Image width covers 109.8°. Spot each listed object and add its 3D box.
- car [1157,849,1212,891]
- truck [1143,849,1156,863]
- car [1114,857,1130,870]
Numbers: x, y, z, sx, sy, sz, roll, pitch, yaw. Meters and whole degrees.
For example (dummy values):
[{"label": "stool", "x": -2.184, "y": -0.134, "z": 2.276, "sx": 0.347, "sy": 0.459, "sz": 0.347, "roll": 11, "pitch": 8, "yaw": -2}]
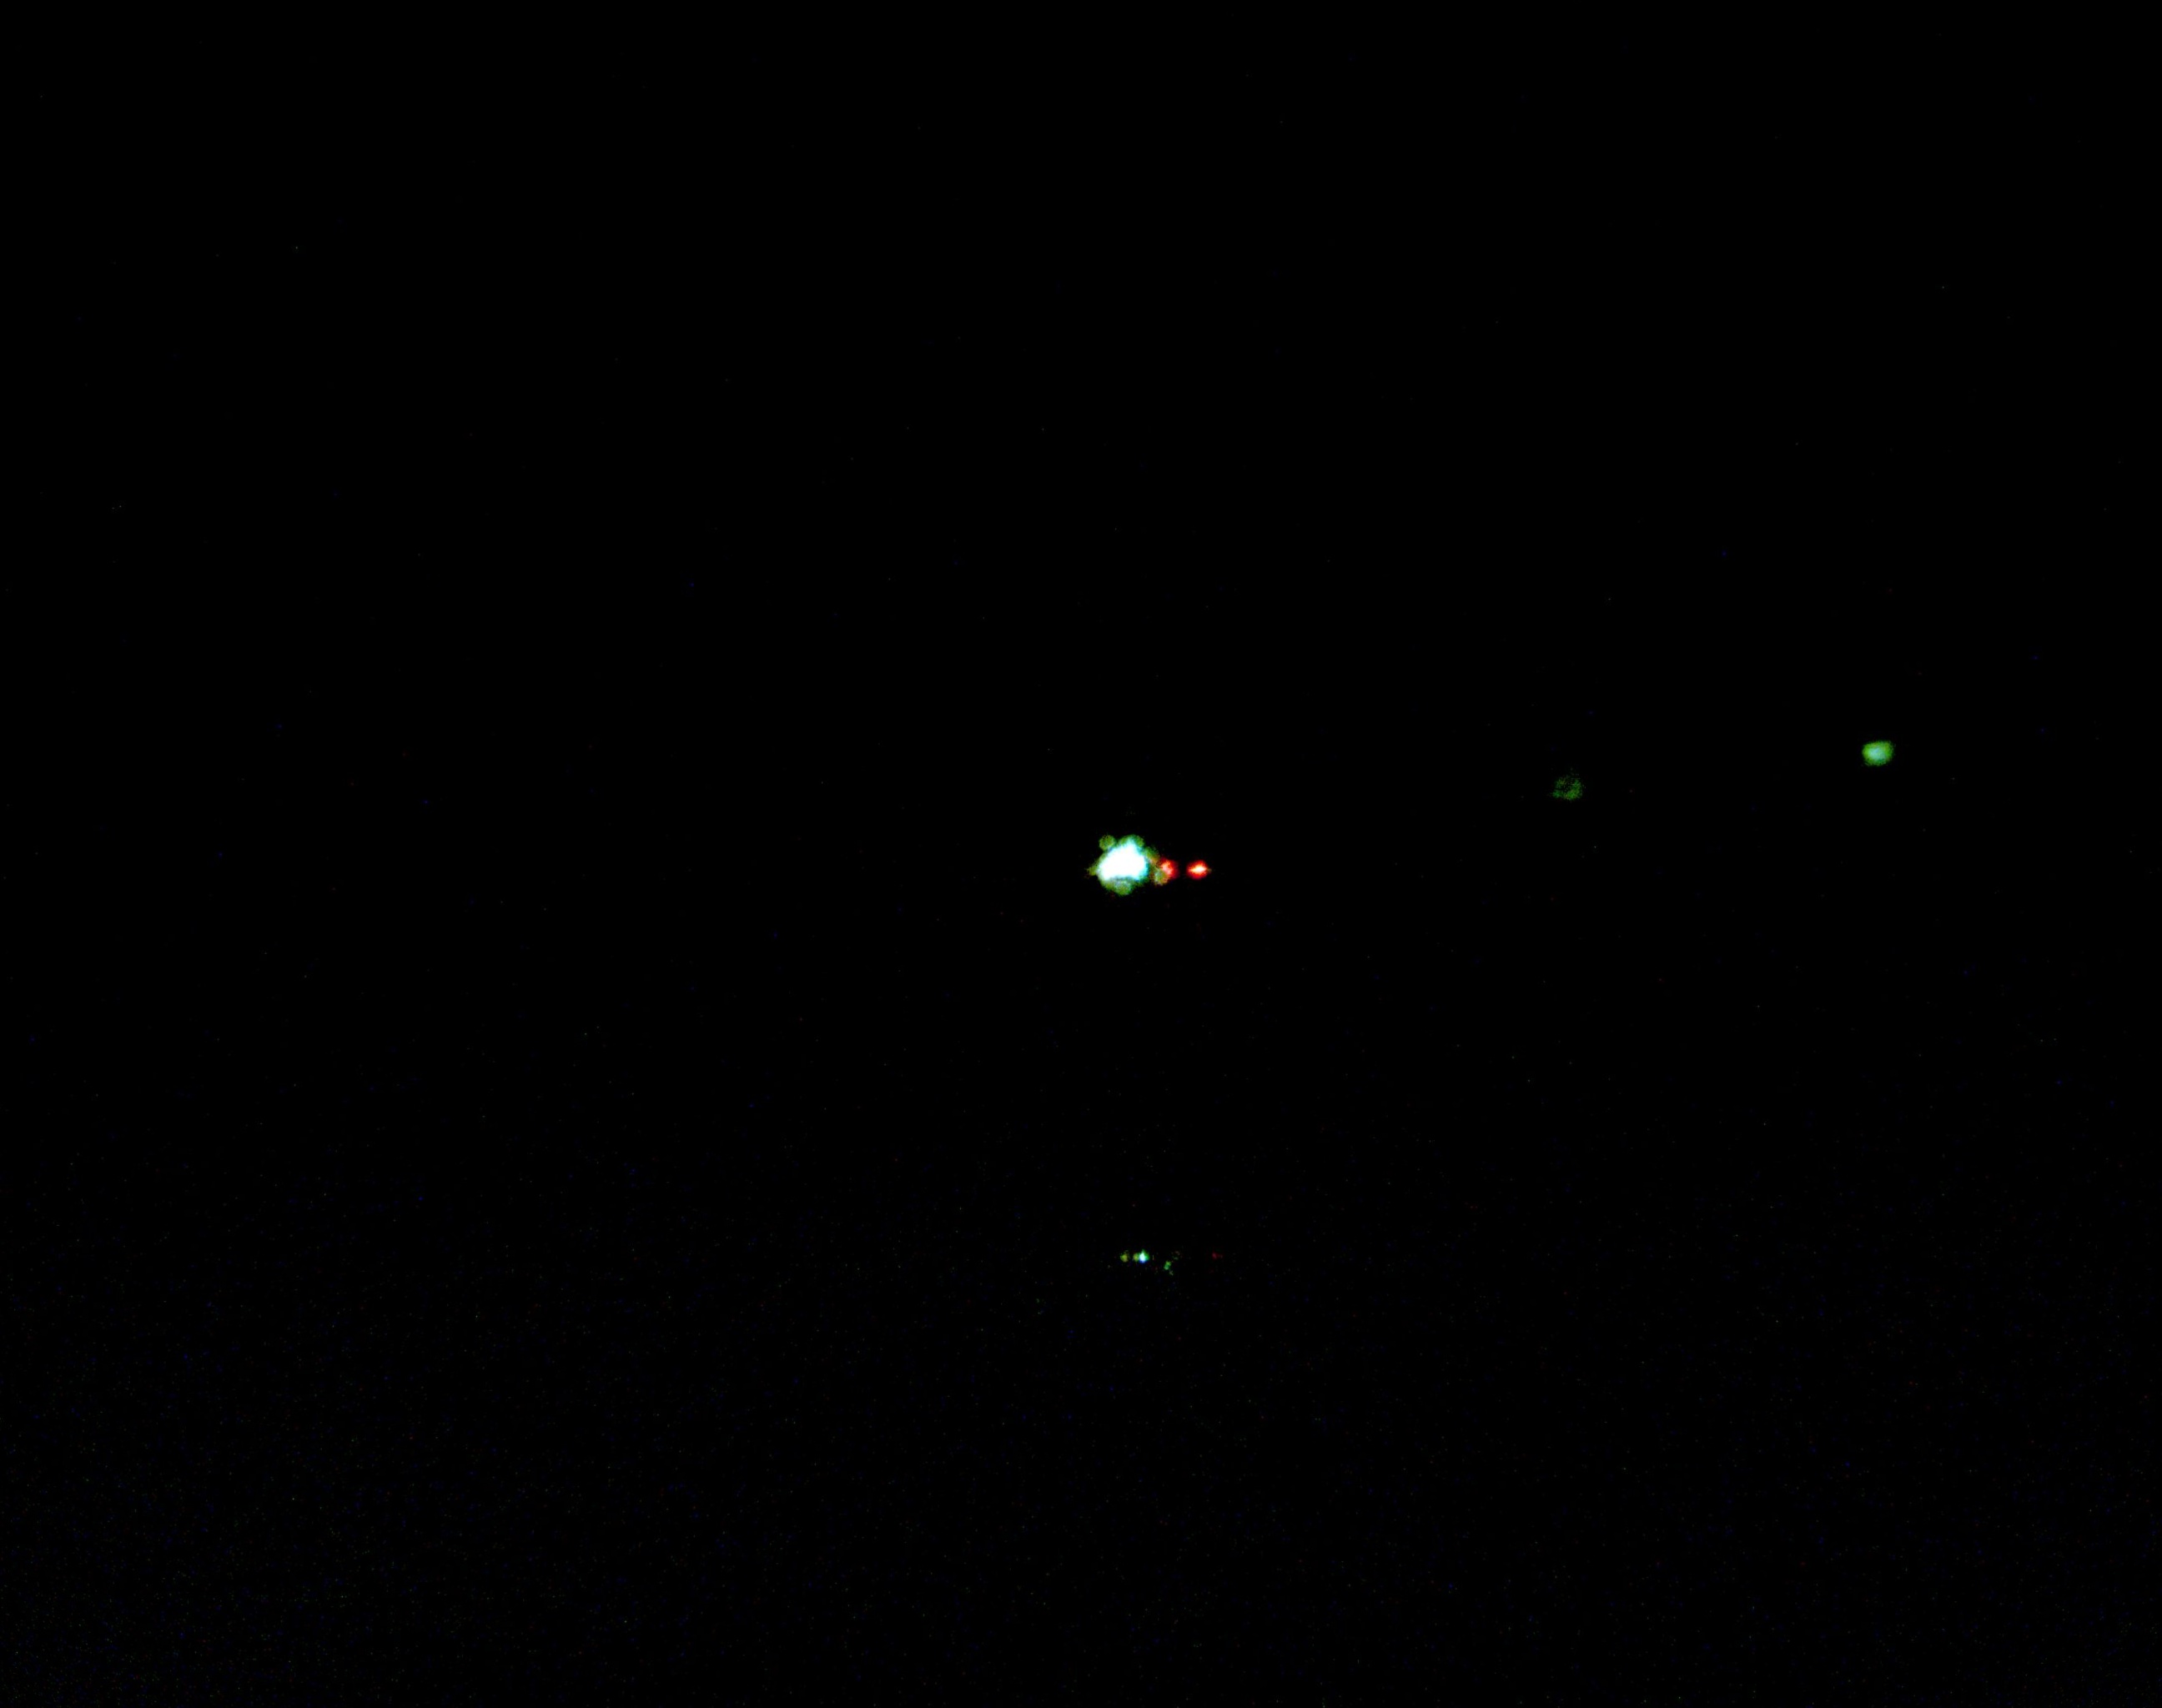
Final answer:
[{"label": "car", "x": 4.296, "y": 0.639, "z": 32.036, "sx": 1.925, "sy": 1.636, "sz": 4.026, "roll": -1, "pitch": 0, "yaw": 3}, {"label": "truck", "x": 12.697, "y": 0.437, "z": 140.669, "sx": 2.142, "sy": 2.520, "sz": 5.280, "roll": -2, "pitch": 0, "yaw": 3}, {"label": "car", "x": 5.382, "y": 1.170, "z": 98.599, "sx": 1.746, "sy": 1.623, "sz": 3.738, "roll": -1, "pitch": 0, "yaw": 8}]
